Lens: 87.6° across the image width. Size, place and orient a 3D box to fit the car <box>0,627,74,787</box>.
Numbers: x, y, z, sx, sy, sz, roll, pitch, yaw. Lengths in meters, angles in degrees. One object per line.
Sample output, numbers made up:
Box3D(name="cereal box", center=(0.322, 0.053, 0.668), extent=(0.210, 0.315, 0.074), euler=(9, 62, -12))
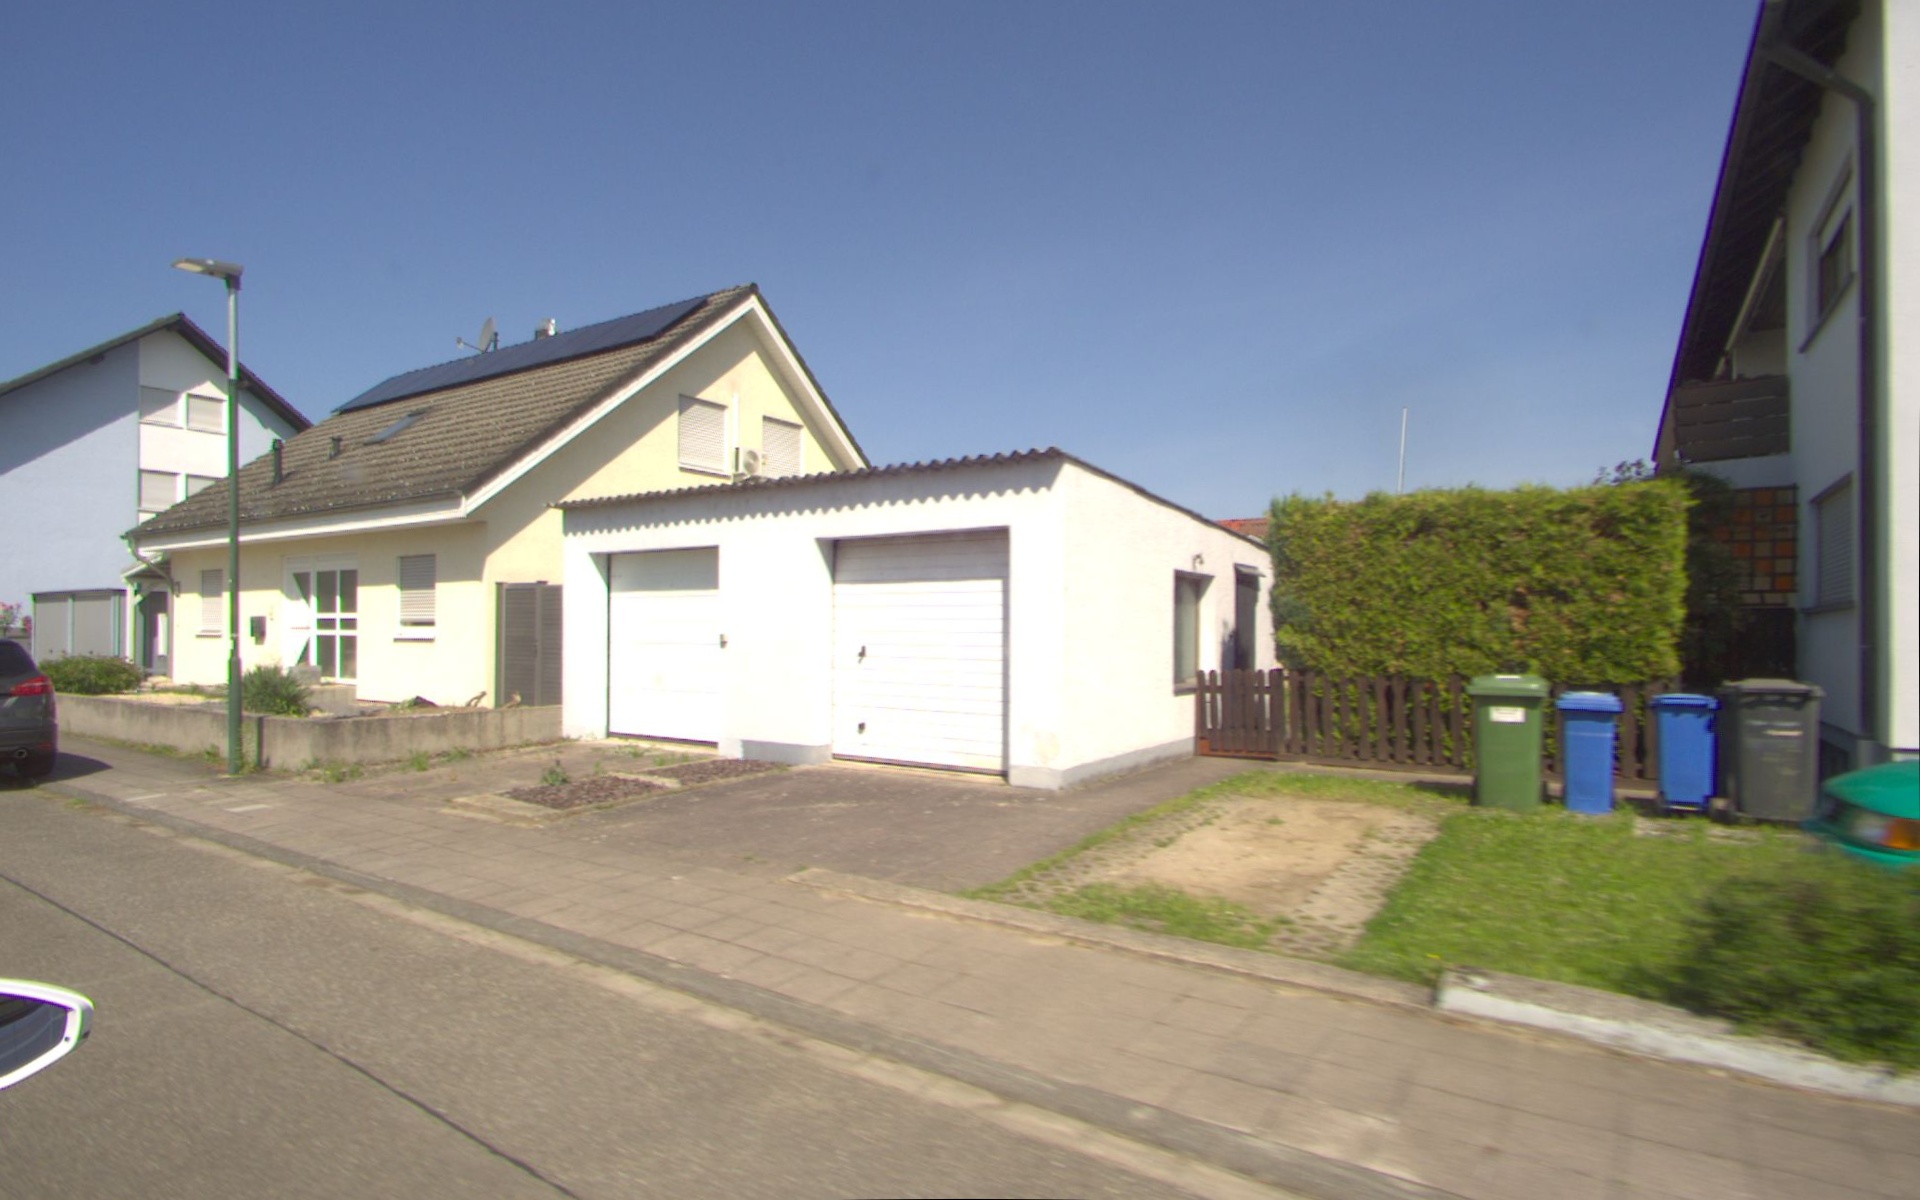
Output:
Box3D(name="car", center=(-10.923, 1.005, 10.330), extent=(3.943, 1.497, 1.640), euler=(0, -3, 33))

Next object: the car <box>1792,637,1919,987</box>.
Box3D(name="car", center=(5.494, 0.844, 3.754), extent=(3.477, 1.376, 1.491), euler=(-1, -2, 33))

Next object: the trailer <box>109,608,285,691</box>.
Box3D(name="trailer", center=(-16.890, 1.068, 22.256), extent=(1.383, 1.712, 2.828), euler=(0, -1, 34))
